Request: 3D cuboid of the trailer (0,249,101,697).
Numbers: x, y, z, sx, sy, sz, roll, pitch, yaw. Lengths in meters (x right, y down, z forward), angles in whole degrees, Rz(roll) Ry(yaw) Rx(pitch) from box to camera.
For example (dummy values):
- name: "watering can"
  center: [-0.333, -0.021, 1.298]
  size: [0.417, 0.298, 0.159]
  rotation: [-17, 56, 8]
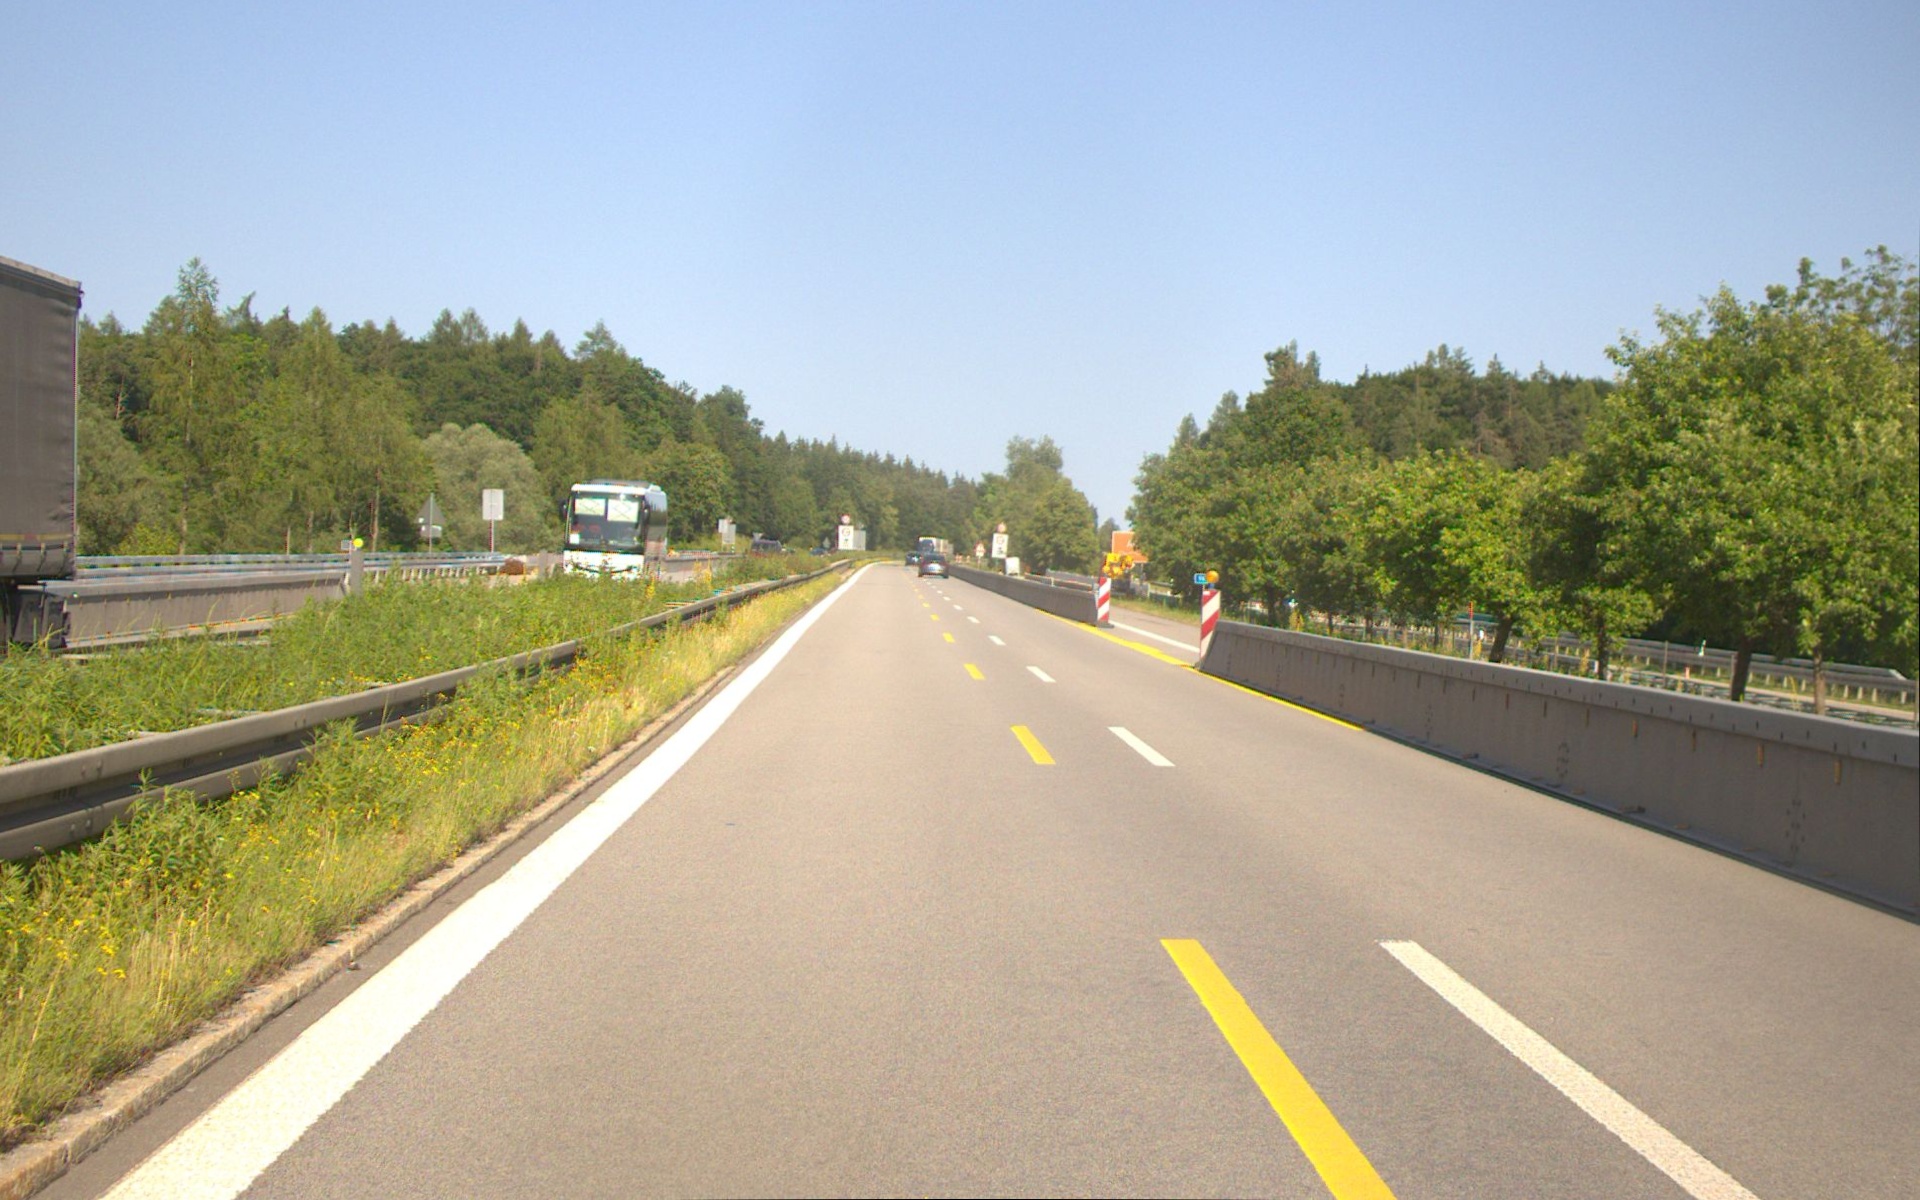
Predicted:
- name: "trailer"
  center: [-10.014, -1.121, 27.995]
  size: [2.741, 4.056, 13.997]
  rotation: [0, 1, -1]

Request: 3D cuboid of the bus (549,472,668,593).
- name: "bus"
  center: [-11.612, -2.231, 114.627]
  size: [2.881, 3.658, 12.919]
  rotation: [3, 1, -2]

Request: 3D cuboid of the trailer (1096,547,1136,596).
- name: "trailer"
  center: [6.279, -1.165, 138.448]
  size: [1.125, 1.867, 4.001]
  rotation: [2, 1, -3]

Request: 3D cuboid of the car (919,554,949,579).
- name: "car"
  center: [-1.582, -2.048, 209.578]
  size: [1.744, 1.461, 4.294]
  rotation: [2, 1, -1]
